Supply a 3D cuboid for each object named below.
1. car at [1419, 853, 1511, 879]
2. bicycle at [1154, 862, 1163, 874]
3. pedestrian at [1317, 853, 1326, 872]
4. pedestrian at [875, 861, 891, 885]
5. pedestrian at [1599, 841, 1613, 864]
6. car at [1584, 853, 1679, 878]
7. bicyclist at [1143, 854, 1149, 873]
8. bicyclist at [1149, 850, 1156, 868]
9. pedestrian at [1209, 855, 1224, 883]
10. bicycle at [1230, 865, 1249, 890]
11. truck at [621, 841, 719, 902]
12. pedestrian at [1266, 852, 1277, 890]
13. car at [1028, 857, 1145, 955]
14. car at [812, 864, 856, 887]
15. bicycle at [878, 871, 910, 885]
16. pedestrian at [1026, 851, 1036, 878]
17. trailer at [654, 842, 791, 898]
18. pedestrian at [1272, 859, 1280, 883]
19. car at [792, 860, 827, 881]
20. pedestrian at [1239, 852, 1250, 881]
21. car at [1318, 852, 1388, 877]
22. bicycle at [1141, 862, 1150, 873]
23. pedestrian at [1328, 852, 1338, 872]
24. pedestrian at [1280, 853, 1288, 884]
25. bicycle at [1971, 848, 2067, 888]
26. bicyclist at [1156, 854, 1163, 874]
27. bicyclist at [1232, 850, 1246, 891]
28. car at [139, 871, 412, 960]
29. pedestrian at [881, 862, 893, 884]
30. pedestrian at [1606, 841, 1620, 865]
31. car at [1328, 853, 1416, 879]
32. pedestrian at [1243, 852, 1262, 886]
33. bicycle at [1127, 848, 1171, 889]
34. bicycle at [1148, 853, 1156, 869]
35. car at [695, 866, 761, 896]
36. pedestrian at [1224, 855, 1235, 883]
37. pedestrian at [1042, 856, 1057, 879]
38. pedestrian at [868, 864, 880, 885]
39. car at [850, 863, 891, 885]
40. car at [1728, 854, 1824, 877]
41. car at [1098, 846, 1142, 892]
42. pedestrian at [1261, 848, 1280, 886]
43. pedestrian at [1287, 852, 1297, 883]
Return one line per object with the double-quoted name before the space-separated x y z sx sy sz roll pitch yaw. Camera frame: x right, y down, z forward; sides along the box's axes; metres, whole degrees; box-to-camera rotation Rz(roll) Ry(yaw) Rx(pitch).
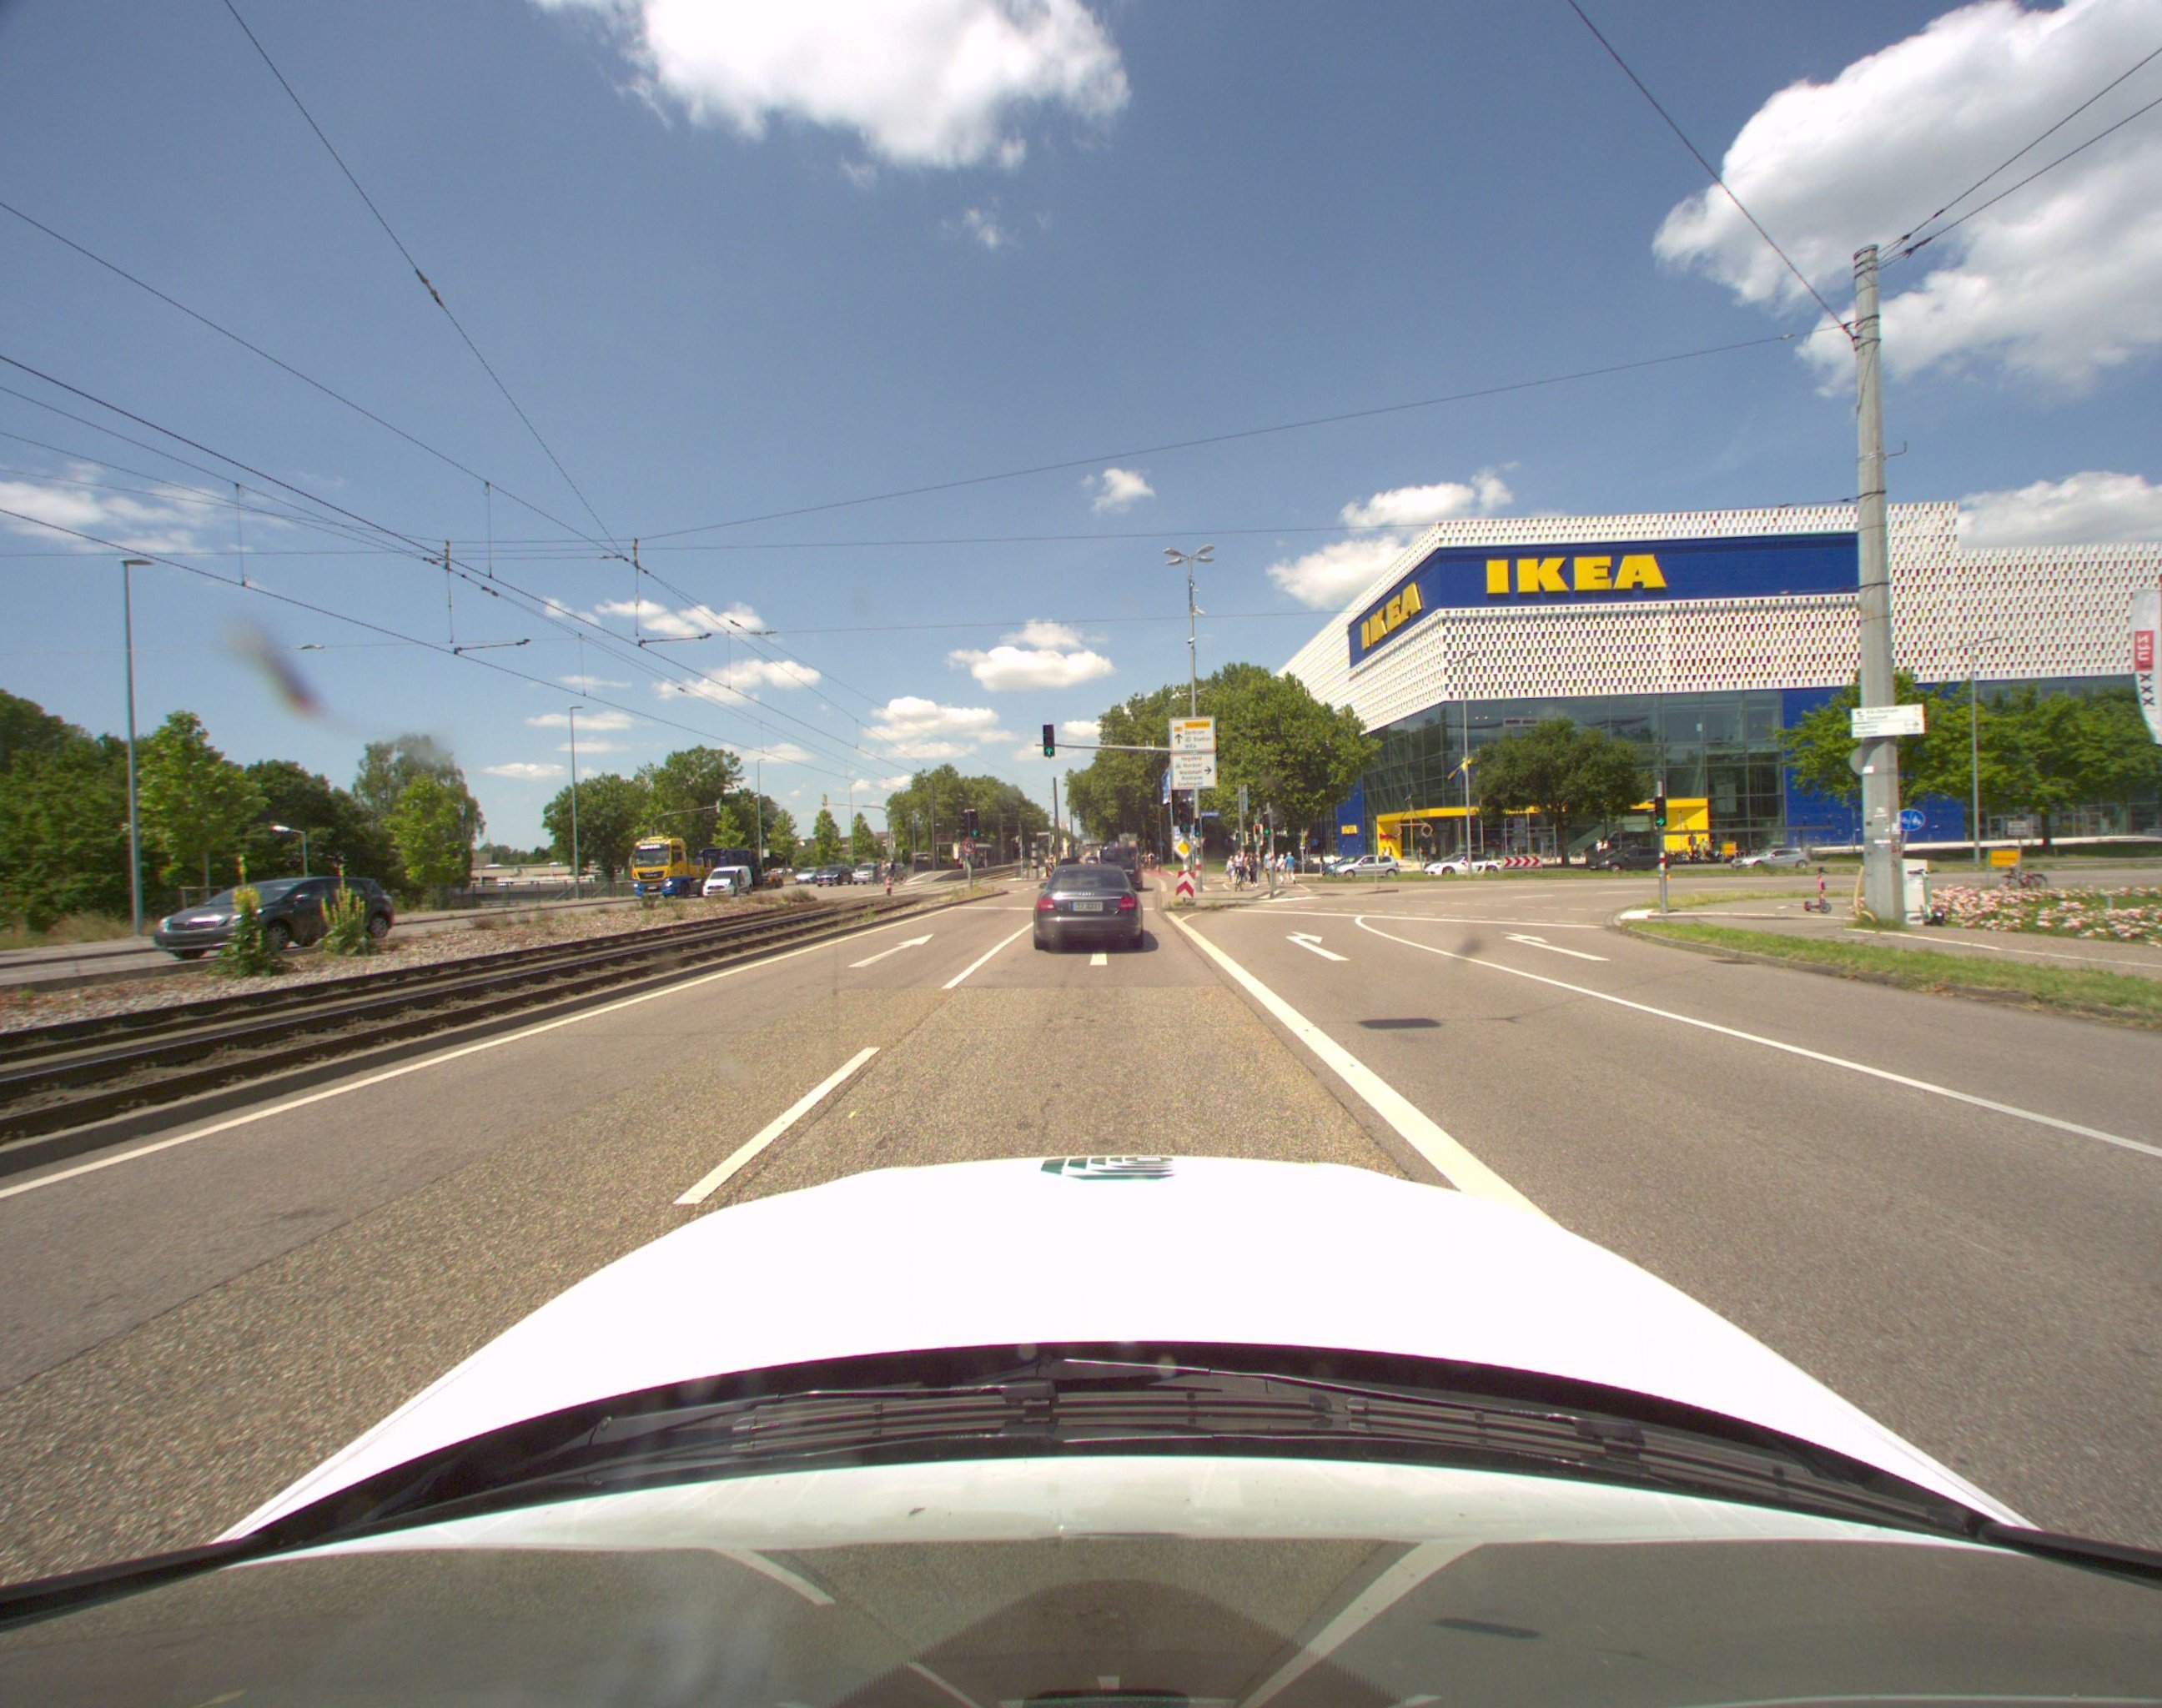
"car" 22.420 0.681 47.638 4.476 1.486 2.003 0 0 4
"bicycle" 6.773 1.231 71.243 0.685 1.006 2.752 -1 0 2
"pedestrian" 19.498 0.701 66.038 0.698 1.544 0.681 -1 0 20
"pedestrian" -14.543 1.392 59.677 0.816 1.720 0.779 -1 -1 23
"pedestrian" 45.331 -0.120 70.323 0.707 2.013 0.825 -1 0 3
"car" 34.081 0.700 50.524 4.476 1.486 2.003 0 0 4
"bicyclist" 6.195 0.889 77.846 0.527 1.789 1.088 -1 -1 2
"bicyclist" 7.130 0.520 81.307 0.527 1.789 1.088 -1 -1 1
"pedestrian" 7.389 0.800 44.419 0.664 1.503 0.611 -1 0 18
"bicycle" 6.944 1.019 35.610 0.654 1.022 1.869 -1 0 15
"truck" -25.898 1.038 51.696 2.757 3.569 6.441 -1 0 1
"pedestrian" 8.201 0.719 35.100 0.380 1.635 0.377 -1 0 4
"car" 0.137 0.824 14.725 1.786 1.455 4.001 -1 0 1
"car" -19.246 1.662 63.751 1.814 1.670 4.466 0 0 4
"bicycle" -12.928 1.675 56.314 2.054 0.925 0.751 -1 0 -8
"pedestrian" -3.758 0.760 61.452 0.683 2.014 0.572 -1 -1 -3
"trailer" -25.730 1.074 60.014 2.757 3.518 15.880 -1 0 1
"pedestrian" 10.383 0.906 43.407 0.371 1.304 0.365 -1 0 4
"car" -25.238 1.517 75.918 1.795 1.818 4.002 -1 0 2
"pedestrian" 9.236 0.707 46.096 0.551 1.635 0.433 -1 0 4
"car" 16.950 0.628 50.879 3.771 1.486 2.003 0 0 4
"bicycle" 6.104 1.306 77.469 0.685 0.993 2.752 -1 0 2
"pedestrian" 20.397 0.625 65.829 0.698 1.635 0.615 -1 0 20
"pedestrian" 10.805 0.755 43.420 0.319 1.635 0.377 -1 0 4
"bicycle" 35.942 0.542 31.237 2.411 1.481 0.990 -1 0 5
"bicyclist" 6.853 0.886 71.413 0.527 1.676 1.088 -1 -1 1
"bicyclist" 6.880 0.705 35.420 0.525 1.764 0.830 -1 -1 15
"car" -17.861 1.276 18.445 1.817 1.670 4.458 0 0 -2
"pedestrian" -13.866 1.353 58.306 0.683 1.564 0.572 -1 -1 -3
"pedestrian" 45.221 -0.121 69.244 0.707 2.013 0.825 -1 0 3
"car" 16.966 0.686 47.631 4.476 1.486 2.003 0 0 4
"pedestrian" 8.415 0.743 39.913 0.706 1.635 0.711 -1 0 27
"bicycle" 3.583 0.738 42.411 1.982 2.014 4.009 -1 0 8
"bicycle" 7.050 0.686 80.796 0.685 1.519 2.752 -1 0 2
"car" -20.937 1.579 48.506 1.815 1.670 4.464 0 0 3
"pedestrian" 8.051 0.796 44.214 0.490 1.520 0.710 -1 0 19
"pedestrian" -2.119 0.909 54.739 0.733 1.556 0.612 -1 -1 38
"pedestrian" -14.540 1.408 57.203 0.683 1.443 0.572 -1 -1 -3
"car" -16.569 1.552 64.232 1.814 1.670 4.466 0 0 4
"car" 45.582 0.753 53.475 4.476 1.486 2.003 0 0 4
"car" 1.719 0.667 37.018 1.830 1.950 4.000 -1 -1 1
"pedestrian" 9.195 0.637 39.505 0.678 1.846 0.711 -1 -1 27
"pedestrian" 11.224 0.739 43.344 0.396 1.635 0.371 -1 0 4
